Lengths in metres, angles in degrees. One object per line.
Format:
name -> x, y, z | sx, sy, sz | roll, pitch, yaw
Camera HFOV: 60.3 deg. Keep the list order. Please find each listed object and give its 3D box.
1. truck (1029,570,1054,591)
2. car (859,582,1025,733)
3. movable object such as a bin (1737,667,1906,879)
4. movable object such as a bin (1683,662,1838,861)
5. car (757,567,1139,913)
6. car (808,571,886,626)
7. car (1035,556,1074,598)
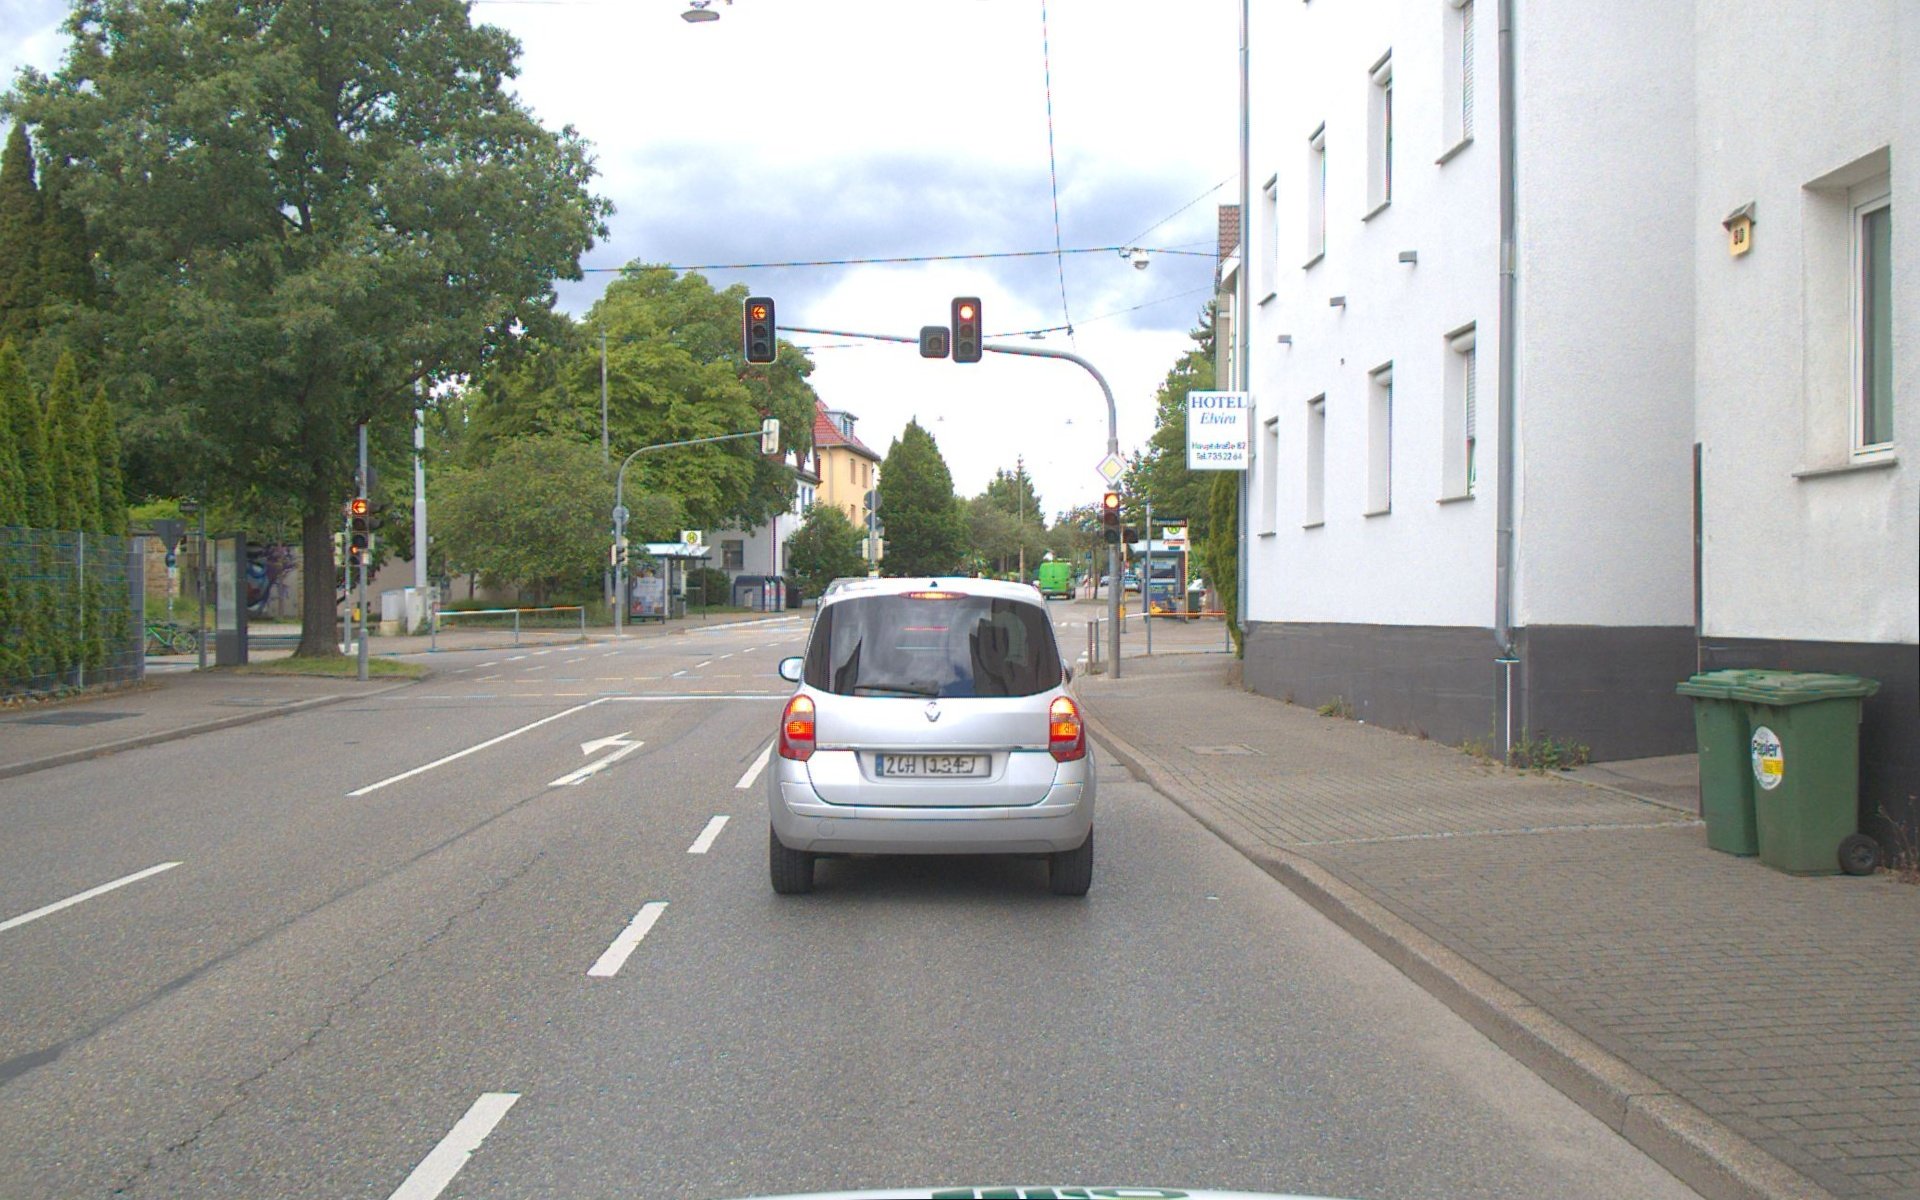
truck -> 8.495, -2.008, 172.391 | 2.056, 2.049, 5.752 | 1, 0, 8
car -> -0.236, 0.603, 19.255 | 1.719, 1.557, 3.796 | 1, 0, -2
movable object such as a bin -> 4.180, 0.824, 8.045 | 0.529, 0.957, 0.487 | -2, 0, -1
movable object such as a bin -> 4.144, 0.823, 8.580 | 0.529, 0.957, 0.487 | -2, 0, -1
car -> -0.107, 0.642, 9.547 | 1.719, 1.557, 3.999 | 1, 0, -2
car -> -4.044, -0.057, 59.740 | 1.885, 1.804, 4.004 | -4, 0, 9
car -> 6.122, -1.446, 106.454 | 2.015, 2.556, 5.600 | 1, 0, 8
